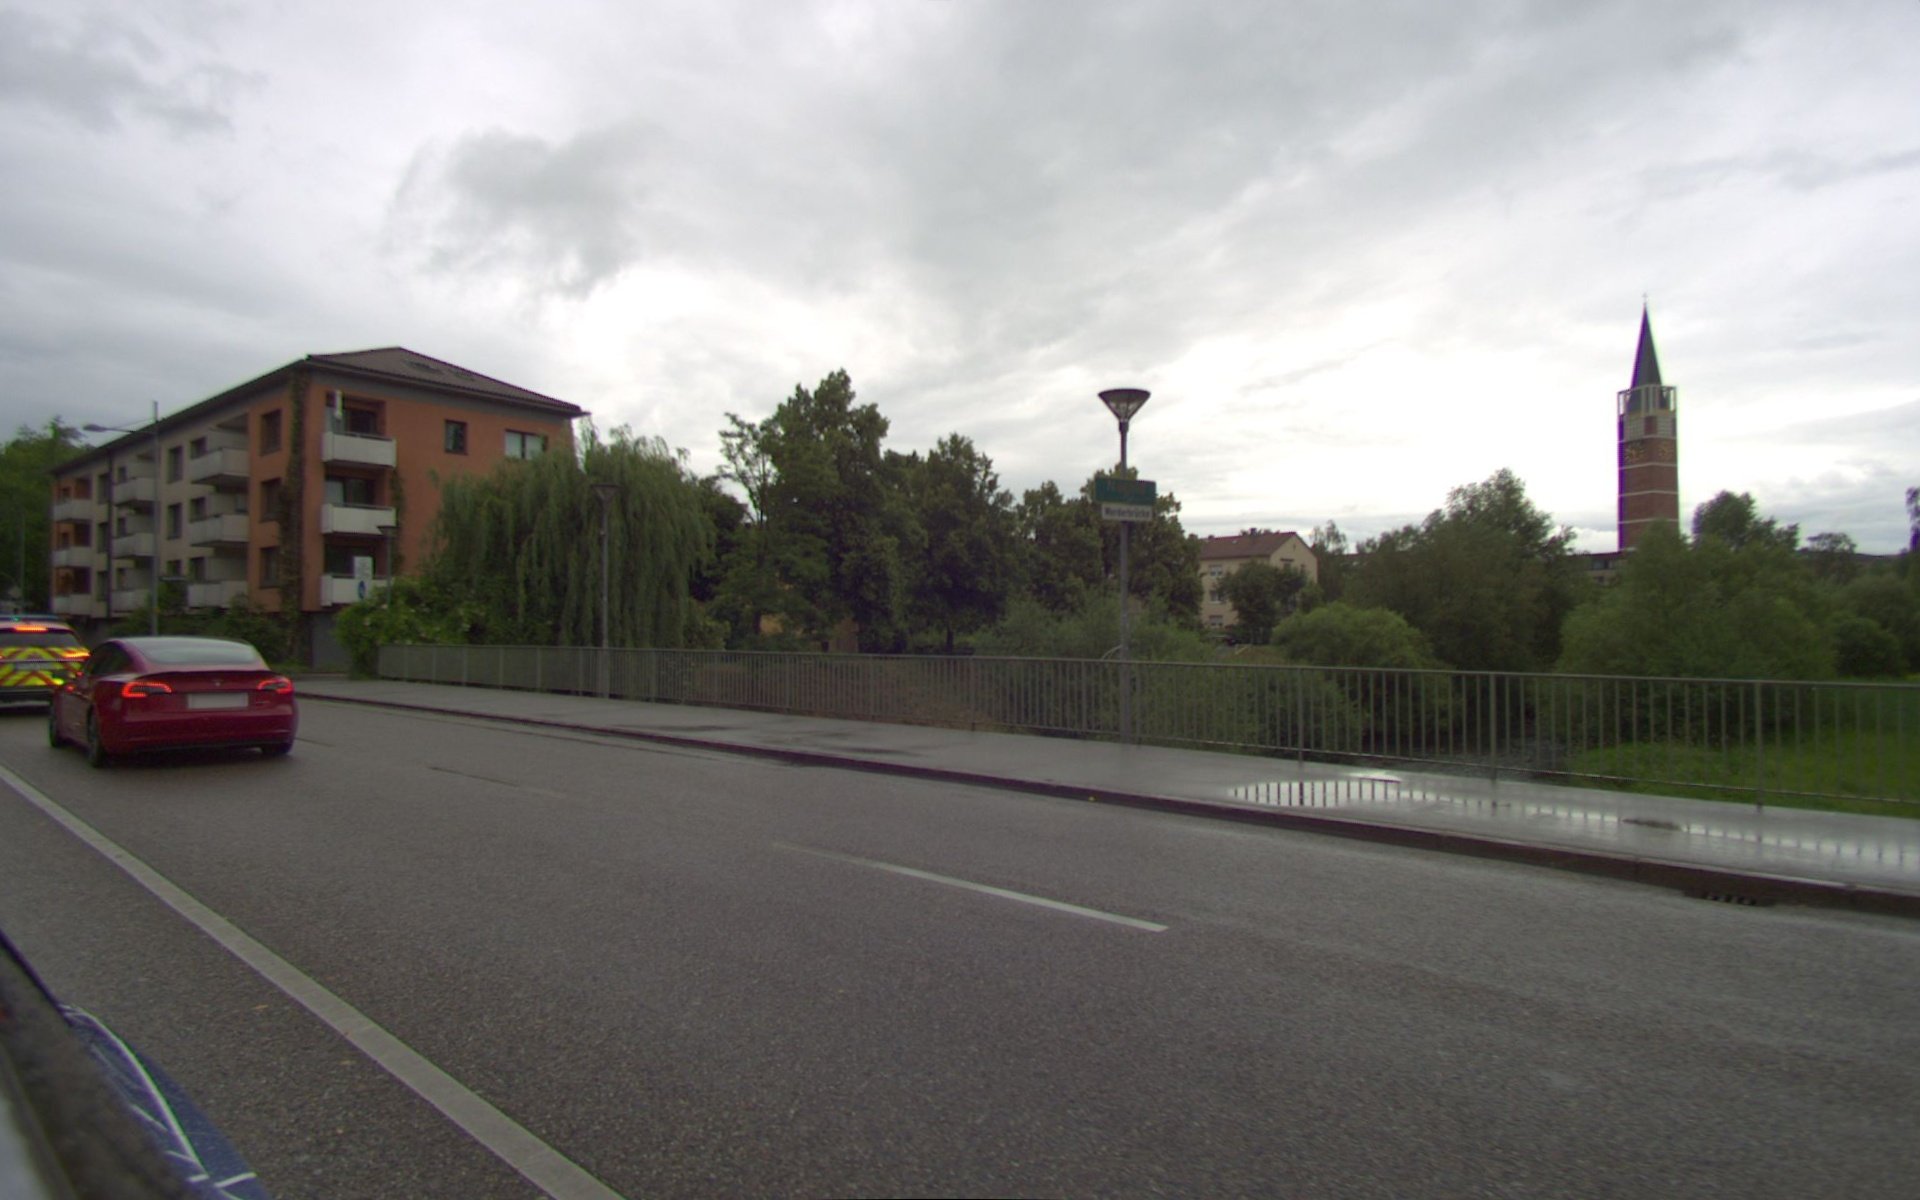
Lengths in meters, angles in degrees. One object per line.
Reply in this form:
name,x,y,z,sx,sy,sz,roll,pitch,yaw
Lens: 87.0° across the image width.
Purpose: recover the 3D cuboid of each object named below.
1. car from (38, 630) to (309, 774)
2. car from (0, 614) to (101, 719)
car,-9.478,1.095,12.072,4.216,1.413,1.763,-2,-4,41
car,-17.344,1.166,18.477,4.369,1.748,1.869,-2,-3,41
